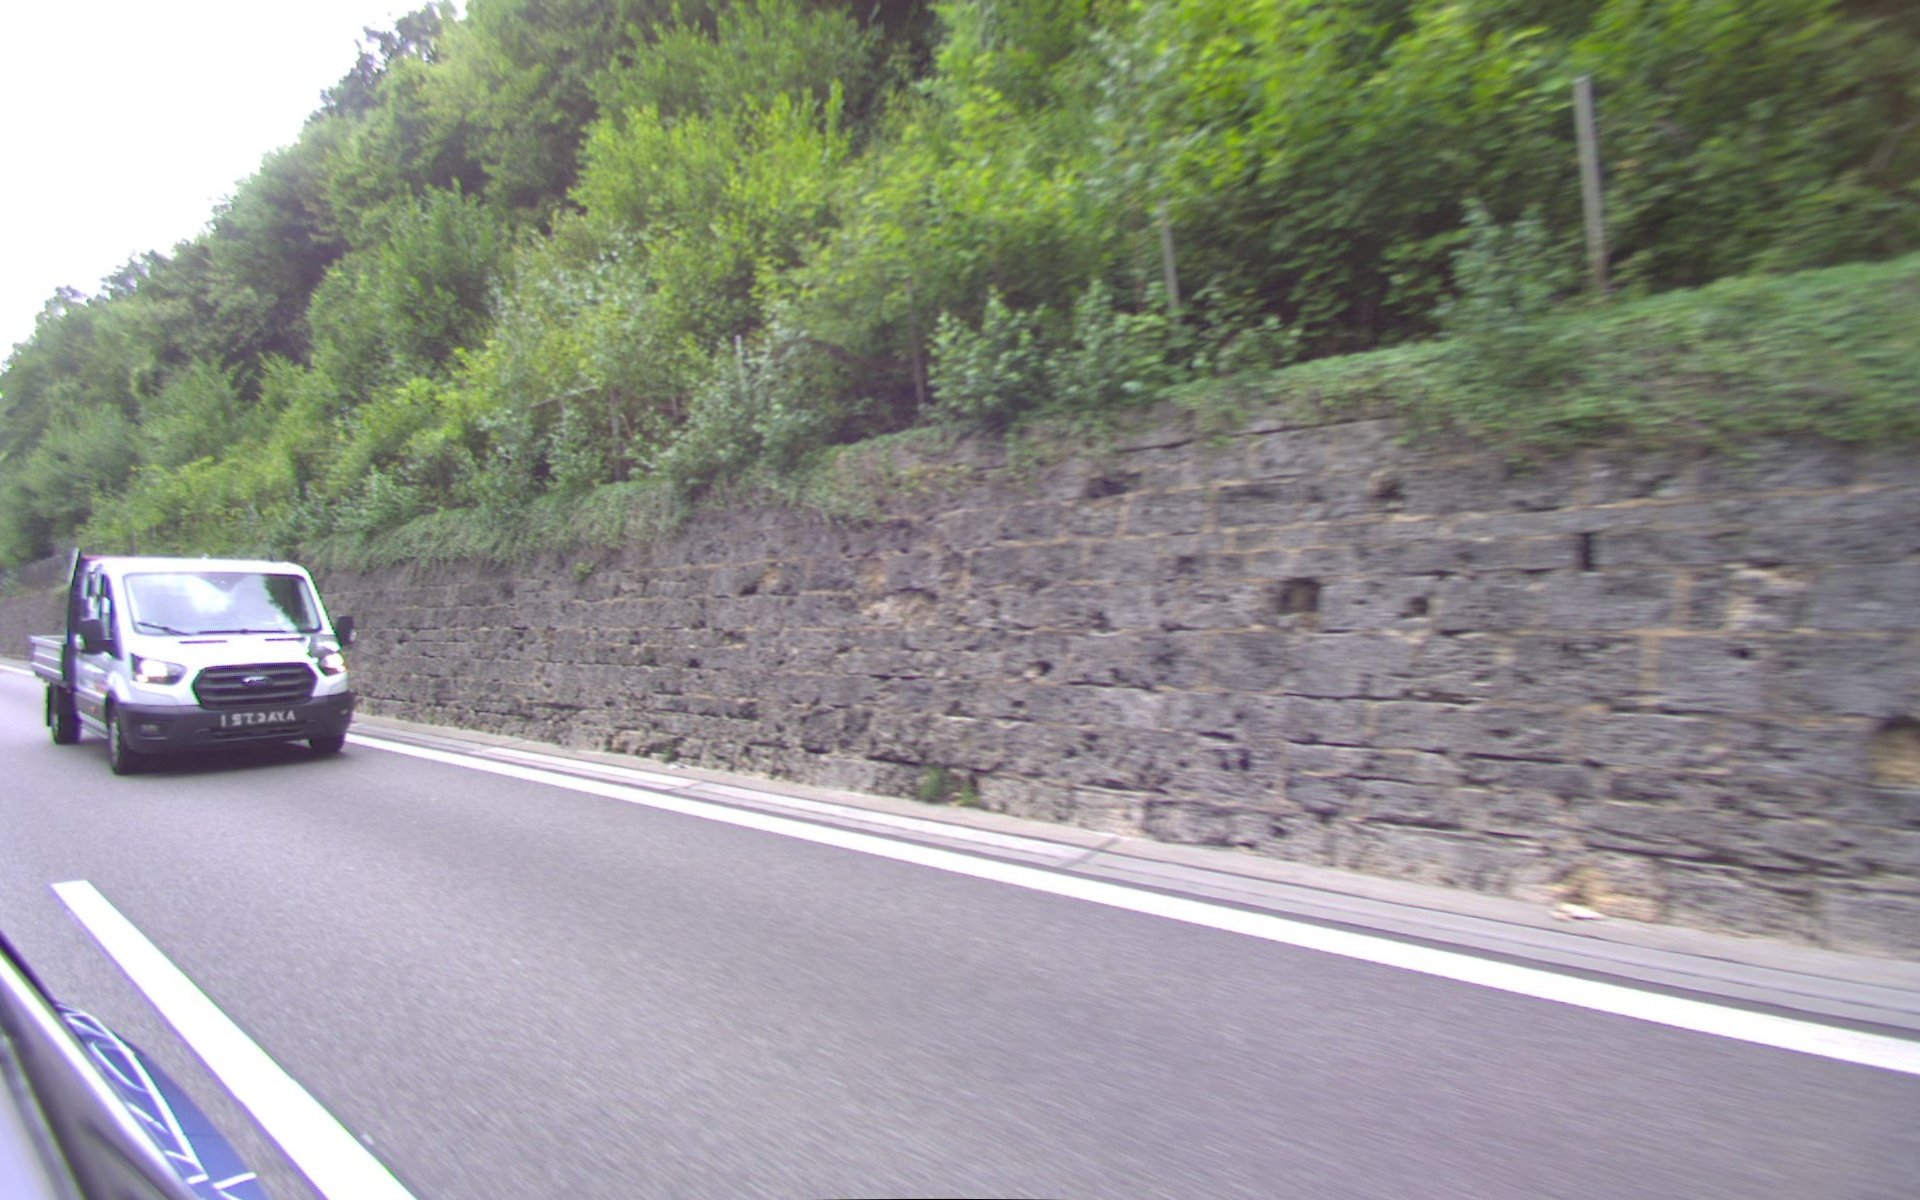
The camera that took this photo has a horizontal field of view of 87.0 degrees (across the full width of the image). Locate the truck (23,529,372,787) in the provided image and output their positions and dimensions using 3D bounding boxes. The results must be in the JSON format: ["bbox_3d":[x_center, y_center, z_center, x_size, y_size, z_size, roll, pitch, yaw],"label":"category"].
[{"bbox_3d":[-9.257,0.584,11.957,6.582,2.297,1.973,-2,-1,41],"label":"truck"}]
